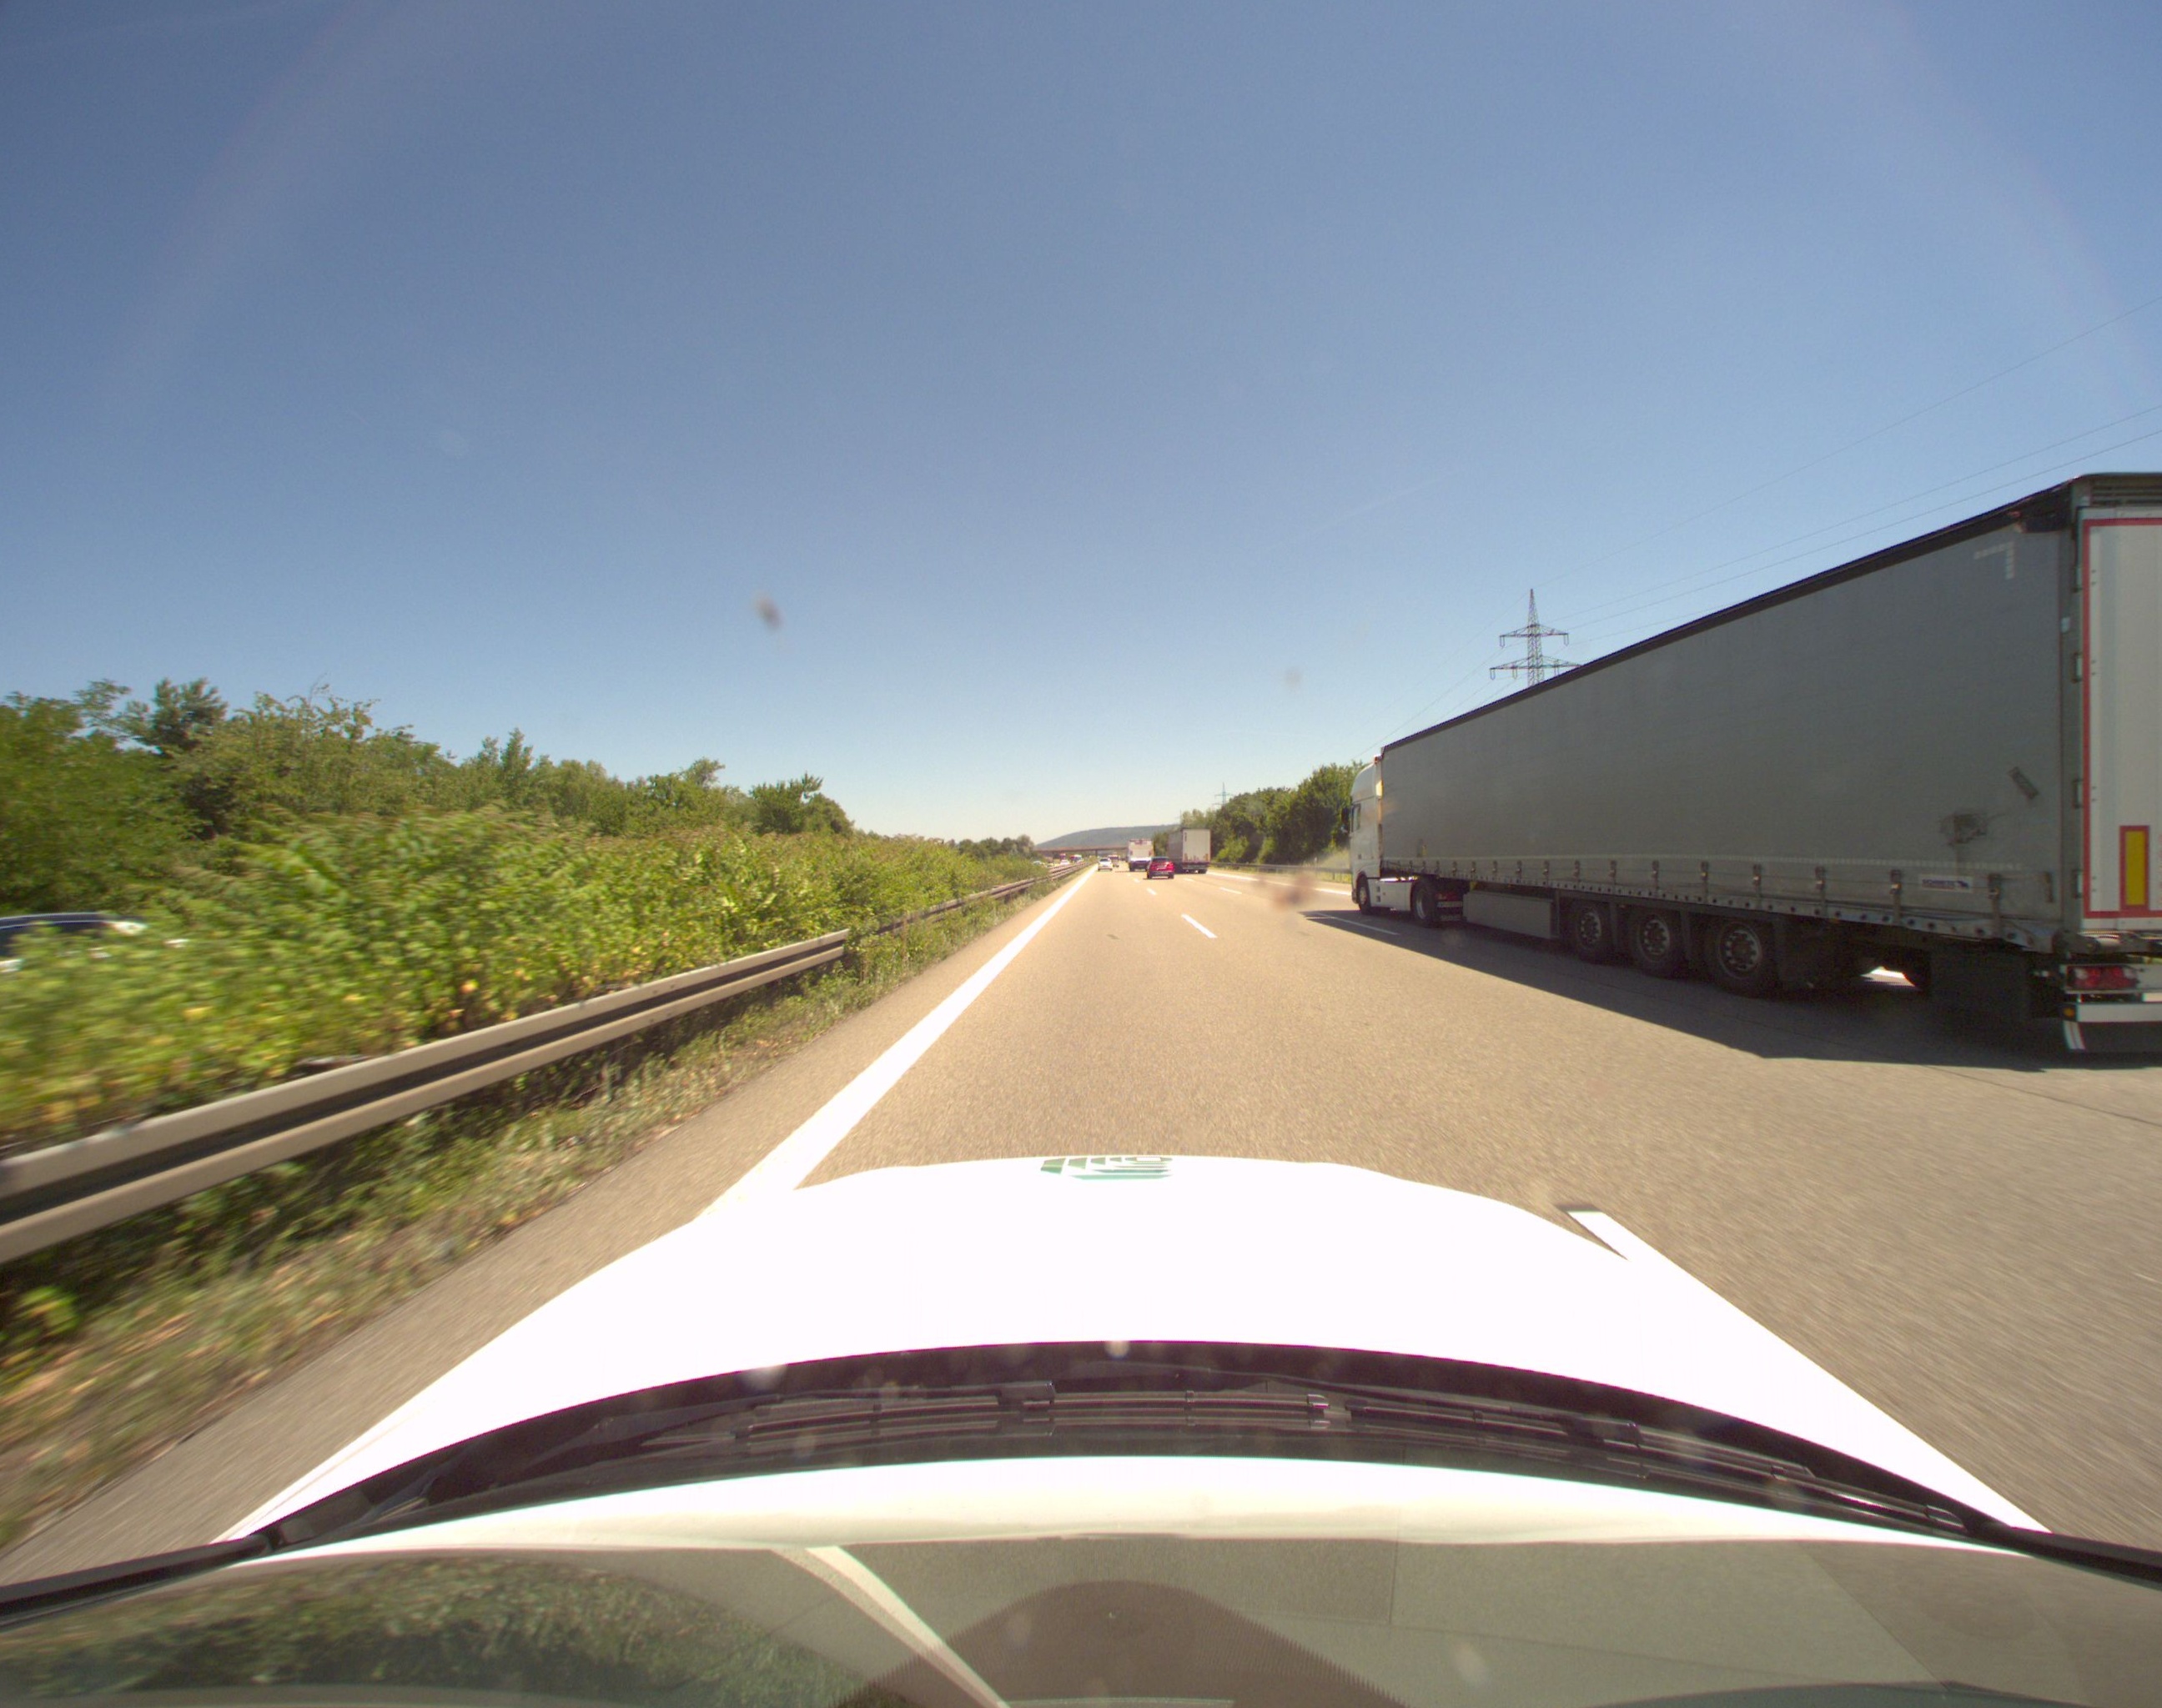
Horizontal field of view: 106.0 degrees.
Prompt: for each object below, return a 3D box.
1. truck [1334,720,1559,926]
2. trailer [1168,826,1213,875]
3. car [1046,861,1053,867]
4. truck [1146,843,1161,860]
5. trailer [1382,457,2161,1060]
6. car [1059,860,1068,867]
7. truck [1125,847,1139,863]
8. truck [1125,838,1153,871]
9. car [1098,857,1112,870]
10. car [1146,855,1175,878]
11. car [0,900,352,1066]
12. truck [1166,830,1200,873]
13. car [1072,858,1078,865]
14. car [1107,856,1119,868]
[{"bbox_3d":[8.344,-0.608,19.540,2.726,4.120,6.127,-1,0,2],"label":"truck"},{"bbox_3d":[10.141,-0.272,76.805,2.778,4.164,13.581,-2,0,2],"label":"trailer"},{"bbox_3d":[-7.585,2.400,196.511,1.576,1.428,3.478,-3,0,2],"label":"car"},{"bbox_3d":[14.446,-0.395,162.428,2.213,3.209,10.388,-2,0,2],"label":"truck"},{"bbox_3d":[8.106,-0.643,12.109,2.726,4.106,13.126,-1,0,2],"label":"trailer"},{"bbox_3d":[-3.728,2.007,174.561,1.788,1.492,4.239,-4,0,2],"label":"car"},{"bbox_3d":[15.181,0.249,241.587,3.507,4.416,14.596,-3,0,2],"label":"truck"},{"bbox_3d":[6.279,0.081,89.178,2.772,3.373,8.130,-1,-1,2],"label":"truck"},{"bbox_3d":[2.803,1.111,95.247,1.601,1.467,4.002,-2,0,2],"label":"car"},{"bbox_3d":[5.586,0.887,57.682,1.796,1.545,4.002,-1,0,2],"label":"car"},{"bbox_3d":[-12.517,1.579,11.052,1.734,1.652,3.779,-2,0,2],"label":"car"},{"bbox_3d":[10.428,-0.243,83.732,2.784,4.164,5.725,-2,0,2],"label":"truck"},{"bbox_3d":[-1.883,2.293,249.476,1.761,1.750,3.987,-3,0,2],"label":"car"},{"bbox_3d":[4.959,1.245,126.260,1.754,1.850,4.002,-2,0,2],"label":"car"}]
